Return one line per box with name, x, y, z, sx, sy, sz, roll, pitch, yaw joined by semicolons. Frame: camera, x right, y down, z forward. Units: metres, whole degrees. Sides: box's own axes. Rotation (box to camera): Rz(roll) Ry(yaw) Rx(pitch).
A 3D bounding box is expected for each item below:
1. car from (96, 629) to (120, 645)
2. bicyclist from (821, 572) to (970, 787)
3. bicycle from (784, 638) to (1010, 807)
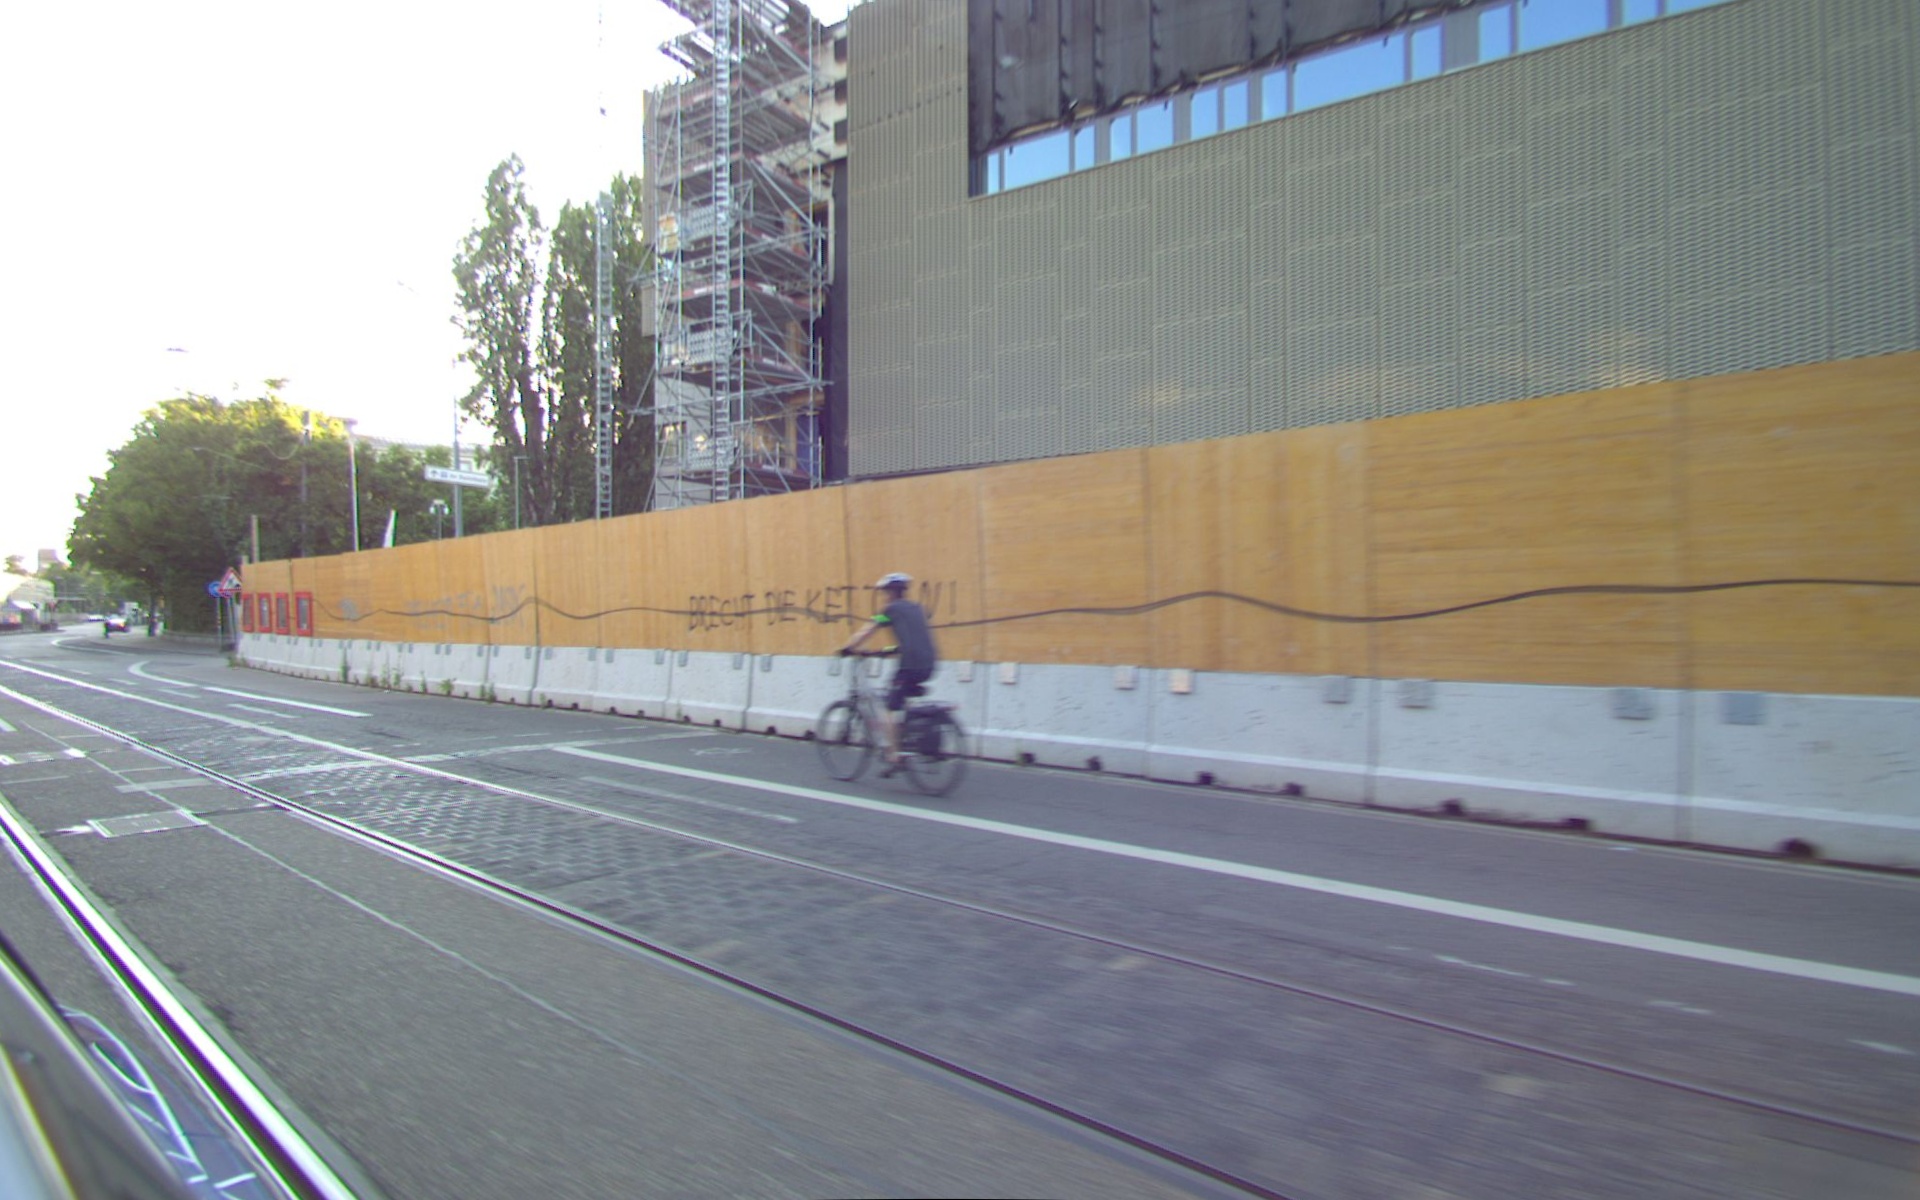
car;-98.124;4.262;116.588;1.968;1.697;4.007;0;-2;-39
bicyclist;-0.548;0.630;8.530;1.017;1.678;0.760;-2;-2;41
bicycle;-0.573;0.958;8.545;1.935;1.237;0.760;-1;-2;42
